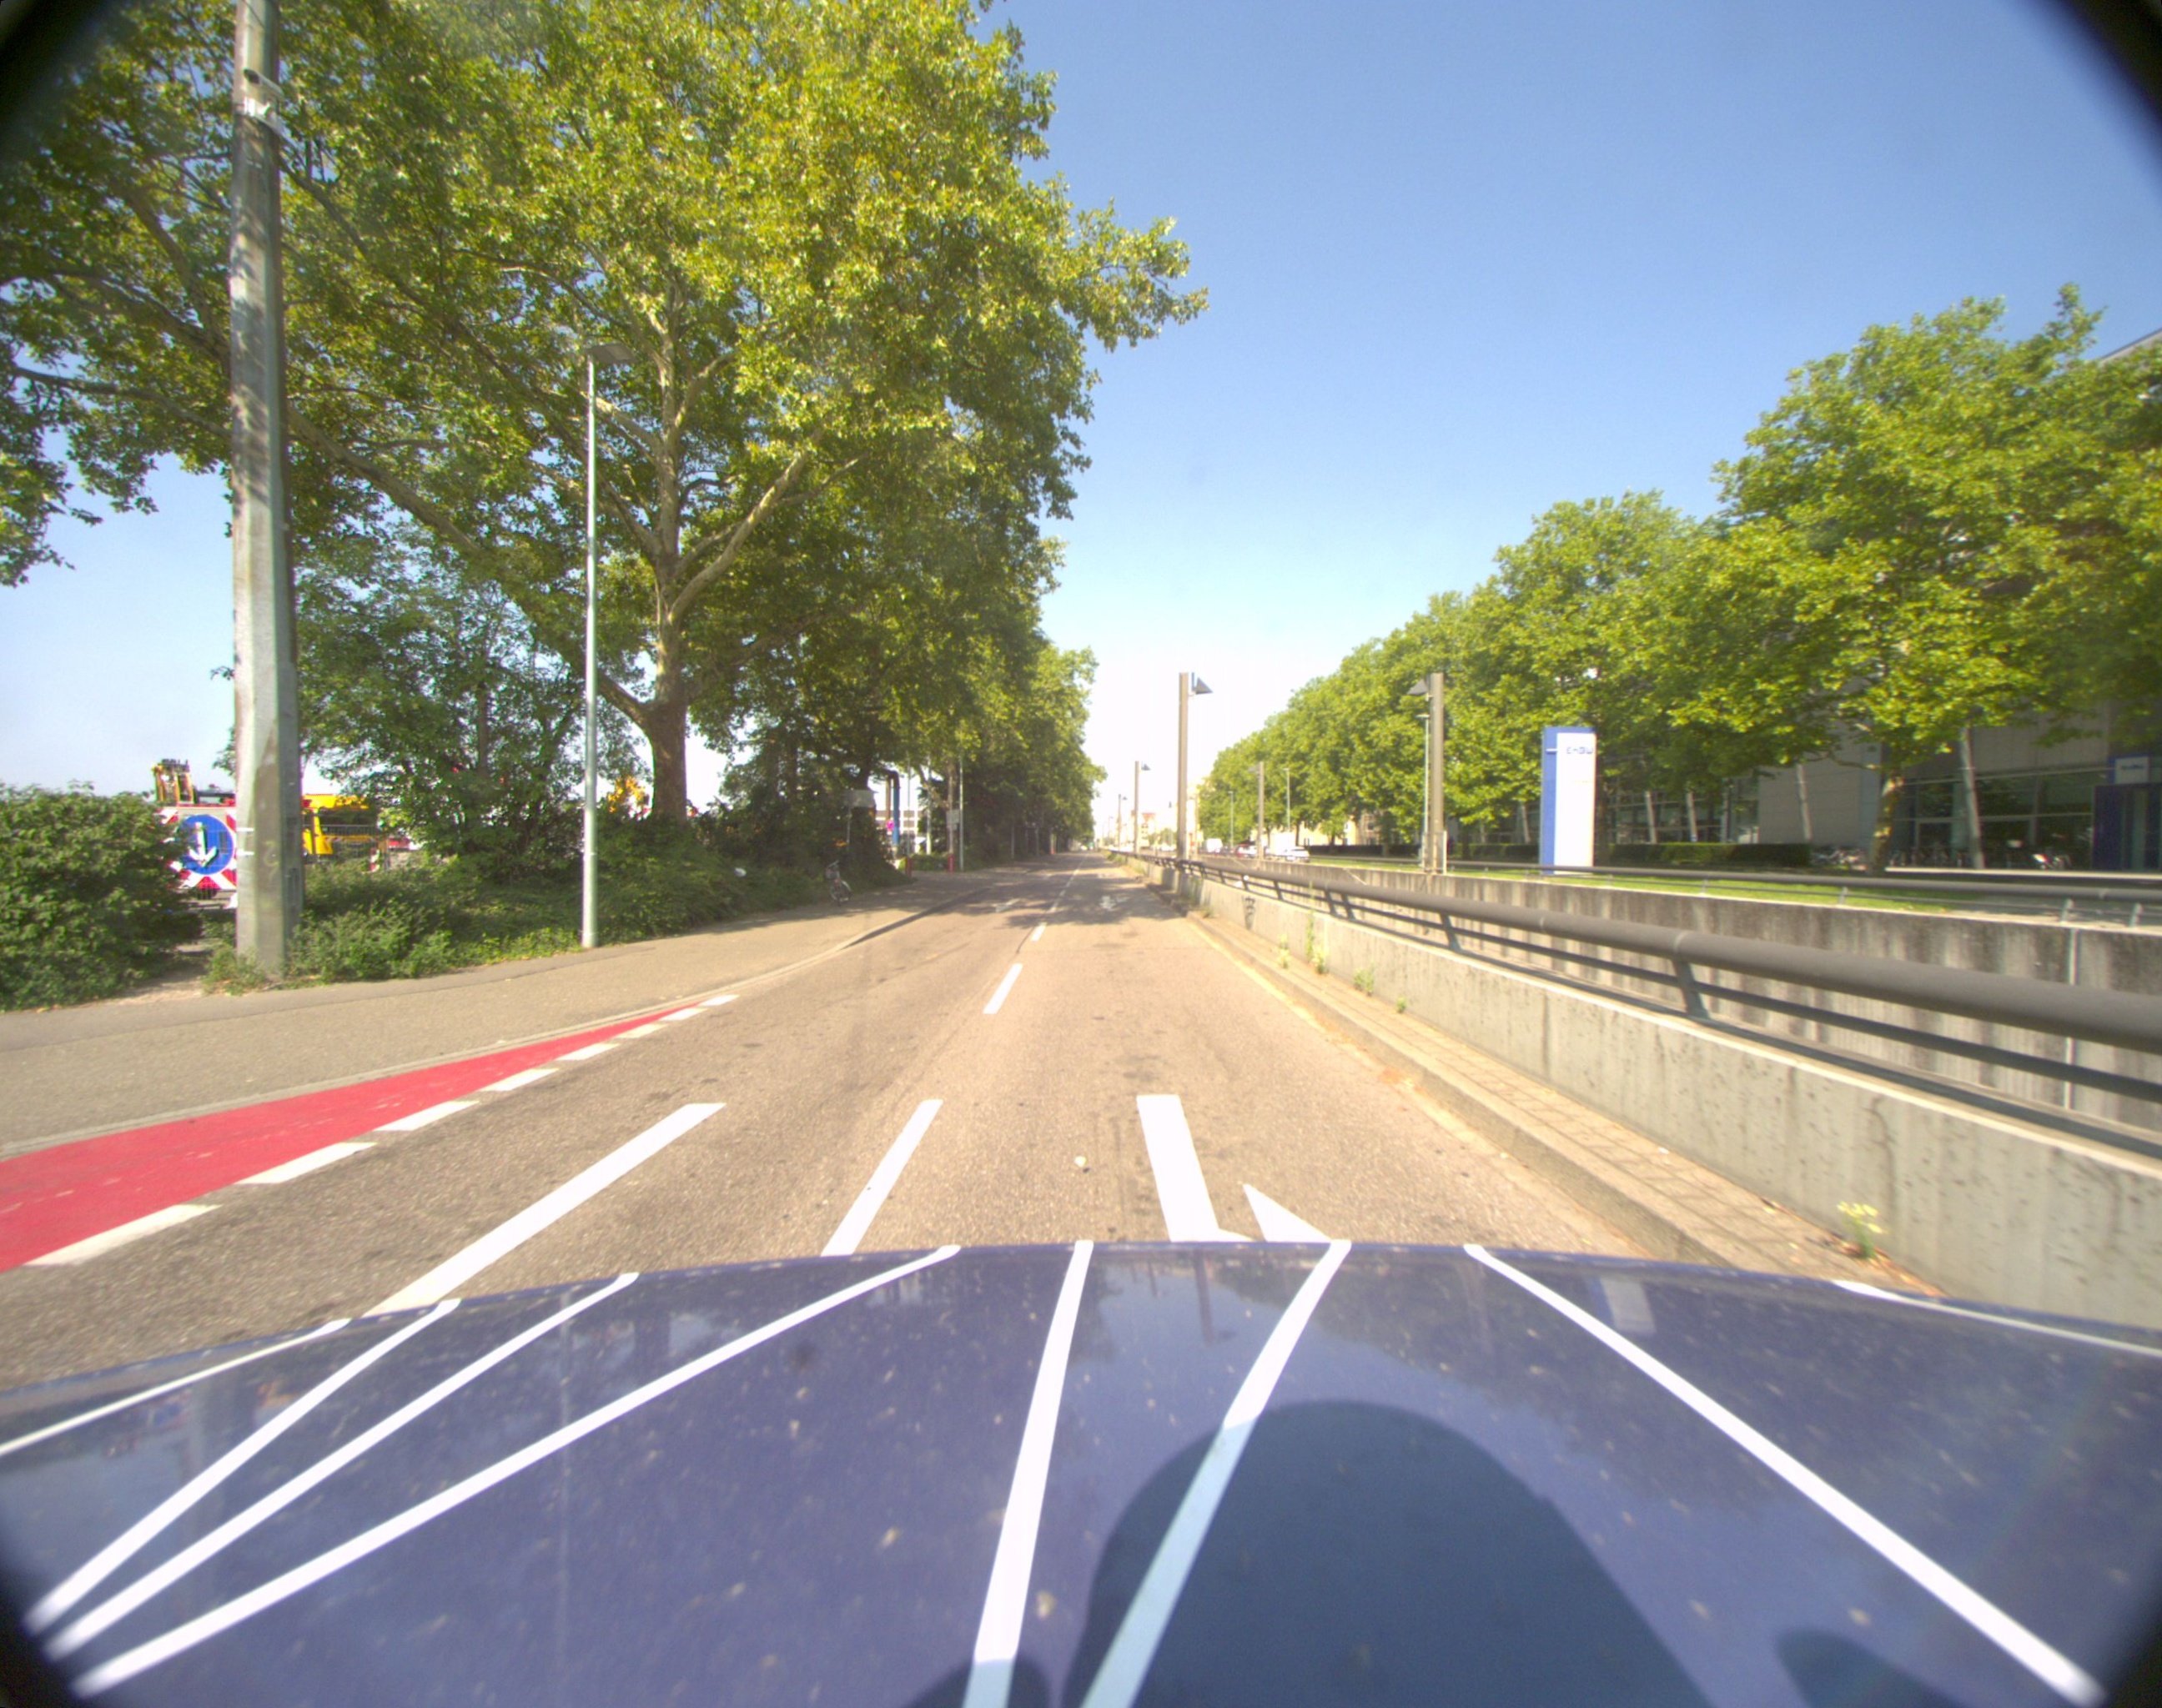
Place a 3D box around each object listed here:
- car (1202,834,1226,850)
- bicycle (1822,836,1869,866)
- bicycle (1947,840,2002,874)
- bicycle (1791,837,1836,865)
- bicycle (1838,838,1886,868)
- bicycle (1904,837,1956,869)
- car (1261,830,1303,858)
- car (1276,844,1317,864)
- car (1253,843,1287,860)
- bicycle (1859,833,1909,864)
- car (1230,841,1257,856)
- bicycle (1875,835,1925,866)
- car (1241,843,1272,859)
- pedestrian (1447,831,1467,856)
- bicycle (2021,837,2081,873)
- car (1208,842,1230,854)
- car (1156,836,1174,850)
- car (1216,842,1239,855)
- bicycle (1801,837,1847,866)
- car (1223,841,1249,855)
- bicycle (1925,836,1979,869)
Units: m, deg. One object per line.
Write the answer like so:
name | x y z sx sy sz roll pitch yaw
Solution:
car | 18.071 -1.595 103.526 2.291 2.068 4.655 -2 1 0
bicycle | 42.041 -0.164 41.778 2.169 1.546 0.600 -2 2 -6
bicycle | 43.032 0.130 36.616 2.169 1.546 0.600 -2 2 -6
bicycle | 41.907 -0.185 43.494 2.169 1.546 0.600 -2 2 -6
bicycle | 42.135 -0.063 40.994 2.169 1.546 0.600 -2 2 -6
bicycle | 42.777 -0.068 38.281 2.169 1.546 0.600 -2 2 -6
car | 17.078 -0.876 64.900 2.291 2.220 4.655 -2 1 0
car | 16.902 -0.026 59.769 1.999 1.445 3.999 -2 1 0
car | 17.274 -0.223 69.625 1.999 1.445 3.999 -2 1 0
bicycle | 42.324 -0.306 40.062 2.169 1.546 0.600 -2 2 -6
car | 17.394 -0.630 81.413 1.999 1.445 3.999 -2 1 0
bicycle | 42.441 -0.178 39.371 2.169 1.546 0.600 -2 2 -6
car | 17.256 -0.272 74.883 1.999 1.445 3.999 -2 1 0
pedestrian | 30.454 -0.846 61.496 0.948 2.002 1.349 -2 1 3
bicycle | 43.462 0.028 34.056 2.169 1.546 0.600 -2 2 -6
car | 17.752 -0.796 97.748 1.999 1.445 3.999 -2 1 0
car | 13.115 -1.740 118.450 1.999 2.002 3.997 -2 1 -4
car | 17.612 -0.706 91.422 1.999 1.445 3.999 -2 1 0
bicycle | 41.925 -0.124 42.864 2.169 1.546 0.600 -2 2 -6
car | 17.648 -0.699 86.646 1.999 1.445 3.999 -2 1 0
bicycle | 42.898 -0.088 37.436 2.169 1.546 0.600 -2 2 -6
